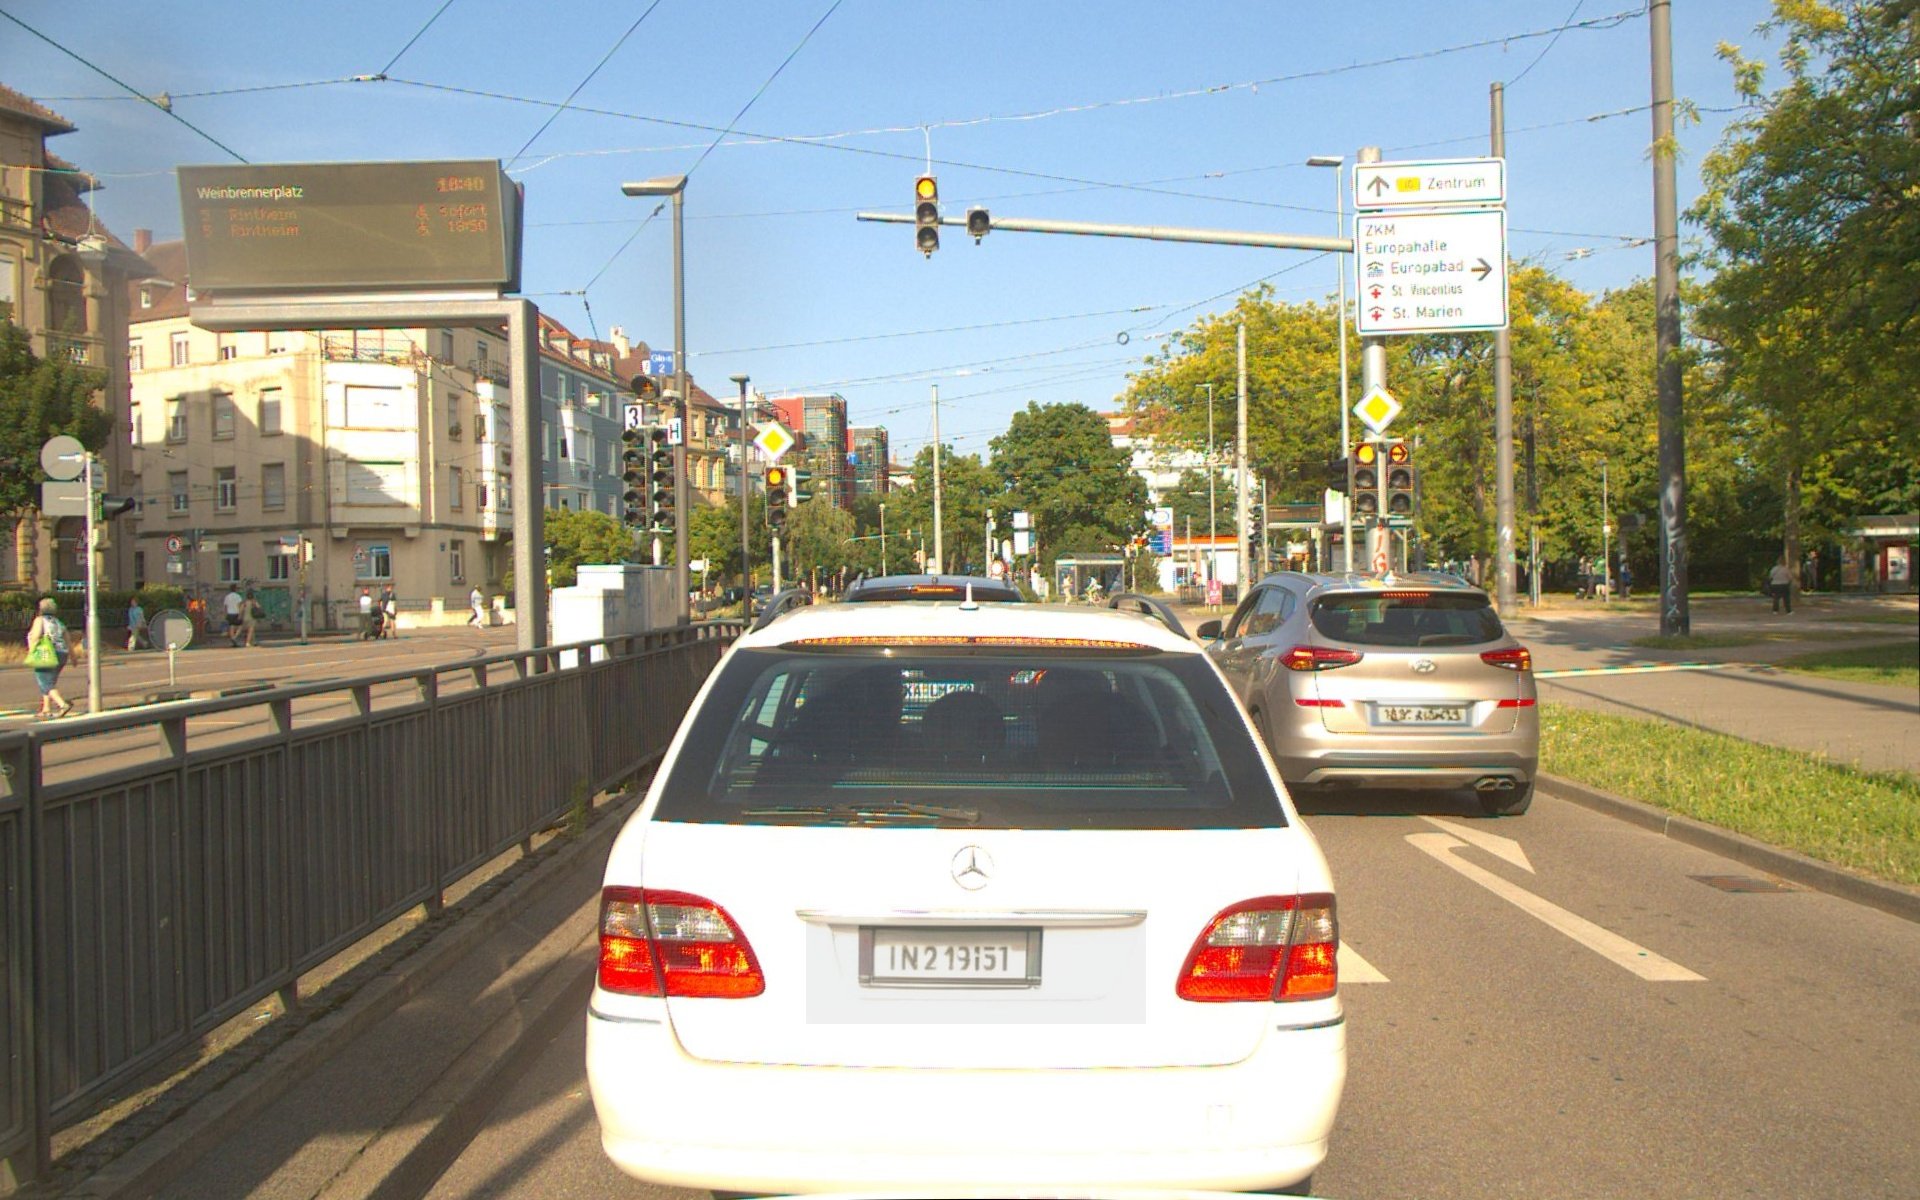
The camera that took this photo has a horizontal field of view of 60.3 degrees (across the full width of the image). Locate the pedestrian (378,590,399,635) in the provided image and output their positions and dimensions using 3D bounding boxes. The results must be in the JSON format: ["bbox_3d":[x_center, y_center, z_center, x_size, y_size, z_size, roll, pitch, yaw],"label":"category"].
[{"bbox_3d":[-19.757,0.417,57.176,0.428,1.527,0.549,-1,0,14],"label":"pedestrian"}]

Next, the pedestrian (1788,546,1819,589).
[{"bbox_3d":[33.326,-1.280,65.358,0.818,1.665,0.803,-1,0,5],"label":"pedestrian"}]

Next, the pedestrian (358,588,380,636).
[{"bbox_3d":[-20.485,0.415,57.297,0.497,1.654,0.608,-1,0,0],"label":"pedestrian"}]

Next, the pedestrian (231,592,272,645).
[{"bbox_3d":[-21.544,0.551,50.310,0.812,1.579,0.782,-1,0,21],"label":"pedestrian"}]

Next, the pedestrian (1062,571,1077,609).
[{"bbox_3d":[5.628,-0.516,84.897,0.628,1.889,0.552,-1,0,11],"label":"pedestrian"}]

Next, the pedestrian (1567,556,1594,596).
[{"bbox_3d":[24.058,-0.919,64.136,0.809,1.513,0.690,-2,0,-42],"label":"pedestrian"}]

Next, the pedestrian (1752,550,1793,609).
[{"bbox_3d":[23.179,-0.593,47.211,0.748,1.665,0.797,-2,0,-40],"label":"pedestrian"}]

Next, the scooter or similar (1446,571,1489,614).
[{"bbox_3d":[14.006,-0.205,45.696,0.413,1.136,1.322,-1,0,-20],"label":"scooter or similar"}]

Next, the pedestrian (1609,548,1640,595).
[{"bbox_3d":[25.883,-1.115,64.416,0.784,1.816,0.838,-1,0,-5],"label":"pedestrian"}]

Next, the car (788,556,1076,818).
[{"bbox_3d":[-0.203,0.554,12.573,1.846,1.680,3.647,1,0,-1],"label":"car"}]

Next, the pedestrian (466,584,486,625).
[{"bbox_3d":[-20.530,0.185,70.171,0.606,1.689,0.586,-1,0,8],"label":"pedestrian"}]

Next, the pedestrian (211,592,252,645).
[{"bbox_3d":[-22.331,0.554,50.713,0.812,1.579,0.782,-1,0,21],"label":"pedestrian"}]

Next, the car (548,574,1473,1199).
[{"bbox_3d":[0.065,0.688,4.971,1.759,1.496,3.647,0,0,-1],"label":"car"}]

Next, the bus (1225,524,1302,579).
[{"bbox_3d":[22.725,-3.495,123.182,3.046,3.669,12.370,1,0,23],"label":"bus"}]

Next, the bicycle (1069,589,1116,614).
[{"bbox_3d":[6.957,0.082,86.773,2.430,1.234,0.807,-1,0,7],"label":"bicycle"}]

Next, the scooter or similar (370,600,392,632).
[{"bbox_3d":[-20.289,0.564,57.947,0.532,1.098,0.683,1,0,-1],"label":"scooter or similar"}]

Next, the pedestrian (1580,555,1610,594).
[{"bbox_3d":[24.865,-0.985,64.756,0.799,1.513,0.699,-1,0,-12],"label":"pedestrian"}]

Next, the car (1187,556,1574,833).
[{"bbox_3d":[2.889,0.575,12.187,1.846,1.680,3.647,-2,0,-1],"label":"car"}]

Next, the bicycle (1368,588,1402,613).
[{"bbox_3d":[13.576,0.000,52.860,0.485,0.770,2.168,-2,0,-1],"label":"bicycle"}]

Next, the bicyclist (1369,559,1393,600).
[{"bbox_3d":[13.483,-0.658,52.976,0.523,1.284,0.869,-1,0,-1],"label":"bicyclist"}]

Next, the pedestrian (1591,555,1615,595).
[{"bbox_3d":[24.605,-0.965,63.241,0.797,1.513,0.700,-1,0,24],"label":"pedestrian"}]

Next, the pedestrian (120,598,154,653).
[{"bbox_3d":[-24.032,0.735,48.307,0.616,1.568,0.711,-1,0,-1],"label":"pedestrian"}]

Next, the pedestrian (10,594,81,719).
[{"bbox_3d":[-12.229,0.742,22.121,0.601,1.627,0.632,-1,0,-7],"label":"pedestrian"}]

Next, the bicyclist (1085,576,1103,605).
[{"bbox_3d":[7.022,-0.494,86.765,0.842,1.507,0.790,-1,0,8],"label":"bicyclist"}]
